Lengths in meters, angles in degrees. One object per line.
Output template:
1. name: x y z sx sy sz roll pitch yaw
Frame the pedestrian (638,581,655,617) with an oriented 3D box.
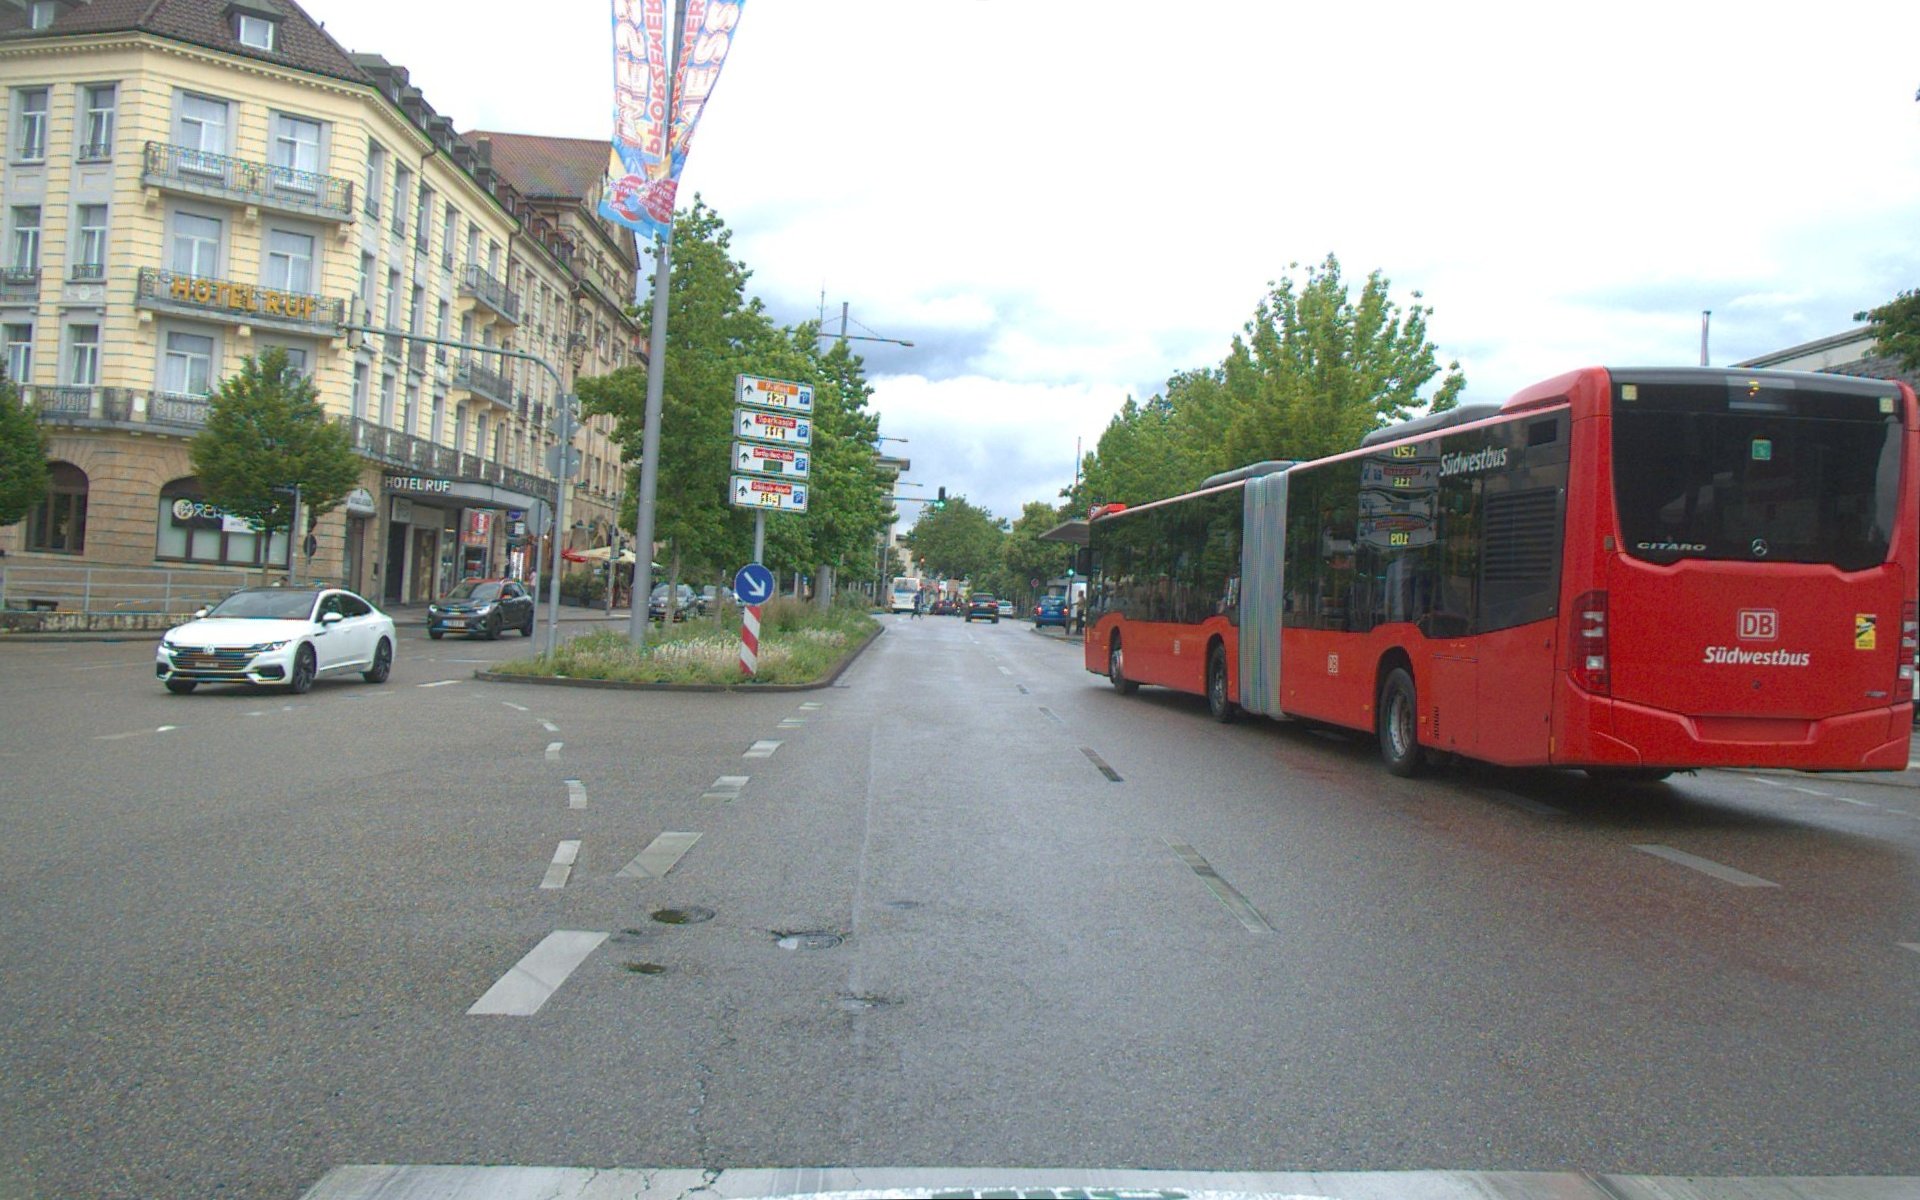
1. pedestrian: -15.093 -0.053 79.733 0.661 1.731 0.633 2 0 -1

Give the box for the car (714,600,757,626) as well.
1. car: -12.784 0.745 94.449 1.718 1.393 4.061 2 0 2

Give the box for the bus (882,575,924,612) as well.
1. bus: -5.360 -0.597 155.831 3.684 3.265 15.520 1 0 -2

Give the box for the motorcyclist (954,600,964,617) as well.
1. motorcyclist: -0.077 0.686 134.728 0.749 1.355 0.866 2 0 -1

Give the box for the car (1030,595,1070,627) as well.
1. car: 4.630 0.552 85.450 1.779 1.557 3.999 1 0 -1

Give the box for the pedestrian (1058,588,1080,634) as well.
1. pedestrian: 4.398 0.451 66.612 0.705 1.822 0.663 2 0 -12

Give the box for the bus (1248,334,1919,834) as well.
1. bus: 5.062 -0.098 14.921 2.690 3.229 8.110 1 0 -6

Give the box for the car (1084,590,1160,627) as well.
1. car: 9.485 0.490 96.775 3.929 2.049 1.988 2 0 -21

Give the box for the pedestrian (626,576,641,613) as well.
1. pedestrian: -15.720 -0.267 79.665 0.563 1.762 0.609 2 0 -1

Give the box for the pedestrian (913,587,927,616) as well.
1. pedestrian: -2.401 0.099 100.239 0.742 1.730 0.560 2 0 6

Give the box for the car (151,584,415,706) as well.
1. car: -9.469 0.555 23.599 1.689 1.405 4.861 2 2 1

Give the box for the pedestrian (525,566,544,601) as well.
1. pedestrian: -19.118 -0.739 74.311 0.656 1.537 0.512 2 0 -39

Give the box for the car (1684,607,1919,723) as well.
1. car: 13.375 0.949 26.052 1.739 1.617 4.614 1 0 -2

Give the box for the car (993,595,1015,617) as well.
1. car: 3.970 0.507 148.156 1.752 1.892 3.999 2 0 -1

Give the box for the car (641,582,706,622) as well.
1. car: -11.343 0.080 65.730 1.718 1.466 4.060 2 0 2

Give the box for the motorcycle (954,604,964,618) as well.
1. motorcycle: -0.081 0.862 134.624 0.750 1.095 2.175 2 0 -1

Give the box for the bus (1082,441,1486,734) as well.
1. bus: 4.054 -0.150 23.733 2.690 3.229 10.180 1 0 -7

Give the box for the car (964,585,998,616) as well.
1. car: 1.273 0.025 103.807 1.953 1.837 4.689 1 0 -1

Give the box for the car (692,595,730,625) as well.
1. car: -12.025 0.467 79.725 1.722 1.393 4.051 2 0 -9

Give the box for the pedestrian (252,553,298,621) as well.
1. pedestrian: -19.859 -0.371 47.965 0.845 1.911 1.022 2 0 -1

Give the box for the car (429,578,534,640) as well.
1. car: -12.468 0.215 43.311 1.597 1.502 4.025 -2 1 -1

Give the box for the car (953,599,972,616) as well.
1. car: 0.228 0.697 152.013 1.673 1.473 3.999 1 0 -1

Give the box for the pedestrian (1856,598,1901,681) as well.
1. pedestrian: 18.896 0.806 34.033 0.549 1.662 0.566 2 0 -3

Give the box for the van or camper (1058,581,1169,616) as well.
1. van or camper: 9.581 -0.072 103.051 6.675 2.049 2.364 1 -1 -27

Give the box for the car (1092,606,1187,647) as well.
1. car: 8.951 1.312 82.385 4.273 1.890 1.988 2 0 -21
